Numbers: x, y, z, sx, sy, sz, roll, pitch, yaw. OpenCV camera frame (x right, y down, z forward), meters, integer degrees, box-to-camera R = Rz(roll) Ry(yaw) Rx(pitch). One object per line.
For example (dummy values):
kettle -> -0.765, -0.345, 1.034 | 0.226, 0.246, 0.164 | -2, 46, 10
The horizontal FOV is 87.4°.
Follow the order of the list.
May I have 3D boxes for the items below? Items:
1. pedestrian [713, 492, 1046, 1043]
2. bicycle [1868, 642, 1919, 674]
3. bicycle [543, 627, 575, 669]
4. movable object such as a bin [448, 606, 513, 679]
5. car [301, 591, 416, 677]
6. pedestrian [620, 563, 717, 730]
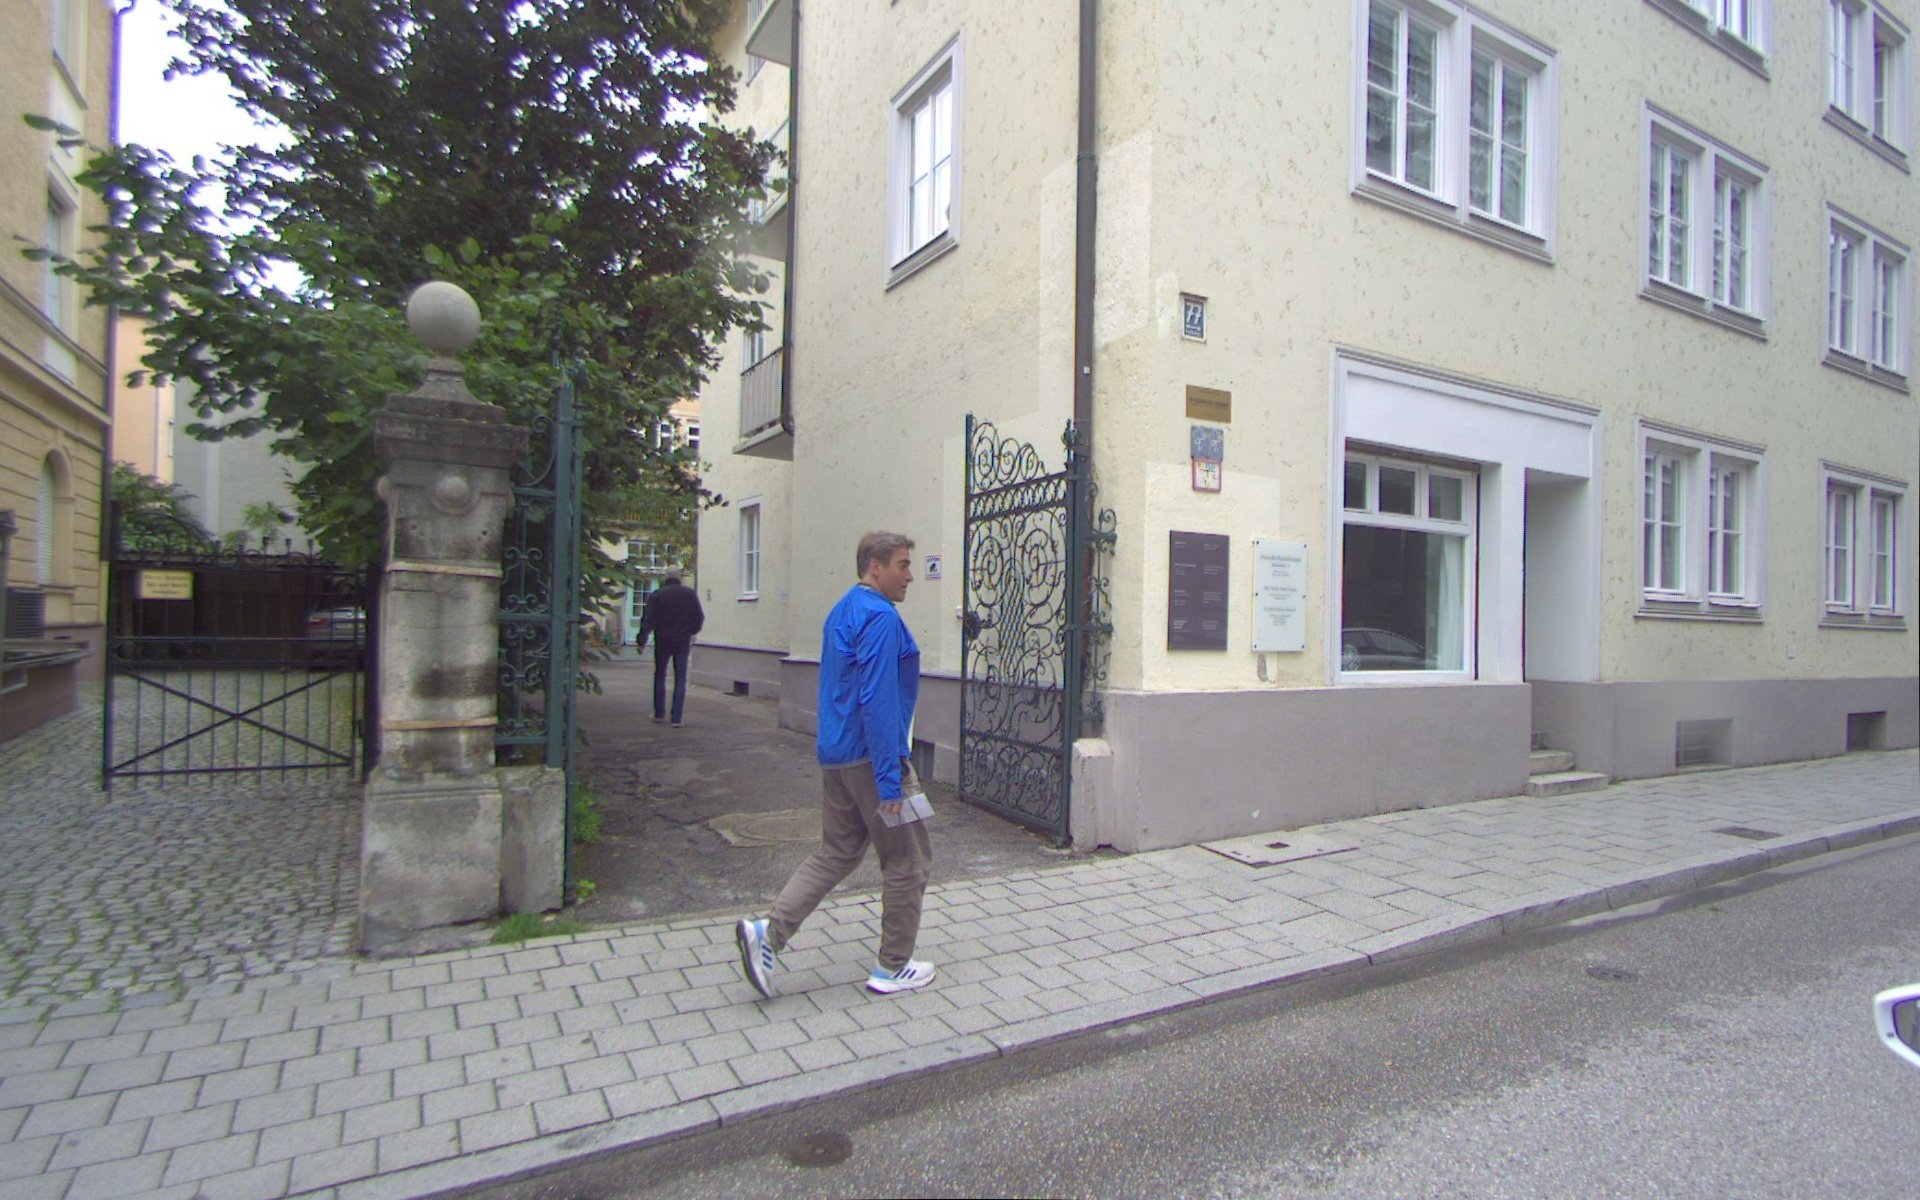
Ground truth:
pedestrian -> -0.332, 0.582, 4.021 | 1.064, 1.879, 0.753 | 2, 0, -30
bicycle -> 35.055, 2.159, 37.476 | 0.590, 1.083, 1.650 | 1, 0, -26
bicycle -> -9.873, 1.166, 24.768 | 0.688, 0.985, 1.880 | 1, -1, -21
movable object such as a bin -> -9.723, 0.851, 20.410 | 1.091, 1.422, 1.221 | 1, -1, -22
car -> -12.627, 0.659, 21.273 | 1.612, 1.561, 3.709 | 2, 1, -24
pedestrian -> -3.432, 0.529, 11.790 | 0.897, 1.851, 0.949 | 1, -1, -27
